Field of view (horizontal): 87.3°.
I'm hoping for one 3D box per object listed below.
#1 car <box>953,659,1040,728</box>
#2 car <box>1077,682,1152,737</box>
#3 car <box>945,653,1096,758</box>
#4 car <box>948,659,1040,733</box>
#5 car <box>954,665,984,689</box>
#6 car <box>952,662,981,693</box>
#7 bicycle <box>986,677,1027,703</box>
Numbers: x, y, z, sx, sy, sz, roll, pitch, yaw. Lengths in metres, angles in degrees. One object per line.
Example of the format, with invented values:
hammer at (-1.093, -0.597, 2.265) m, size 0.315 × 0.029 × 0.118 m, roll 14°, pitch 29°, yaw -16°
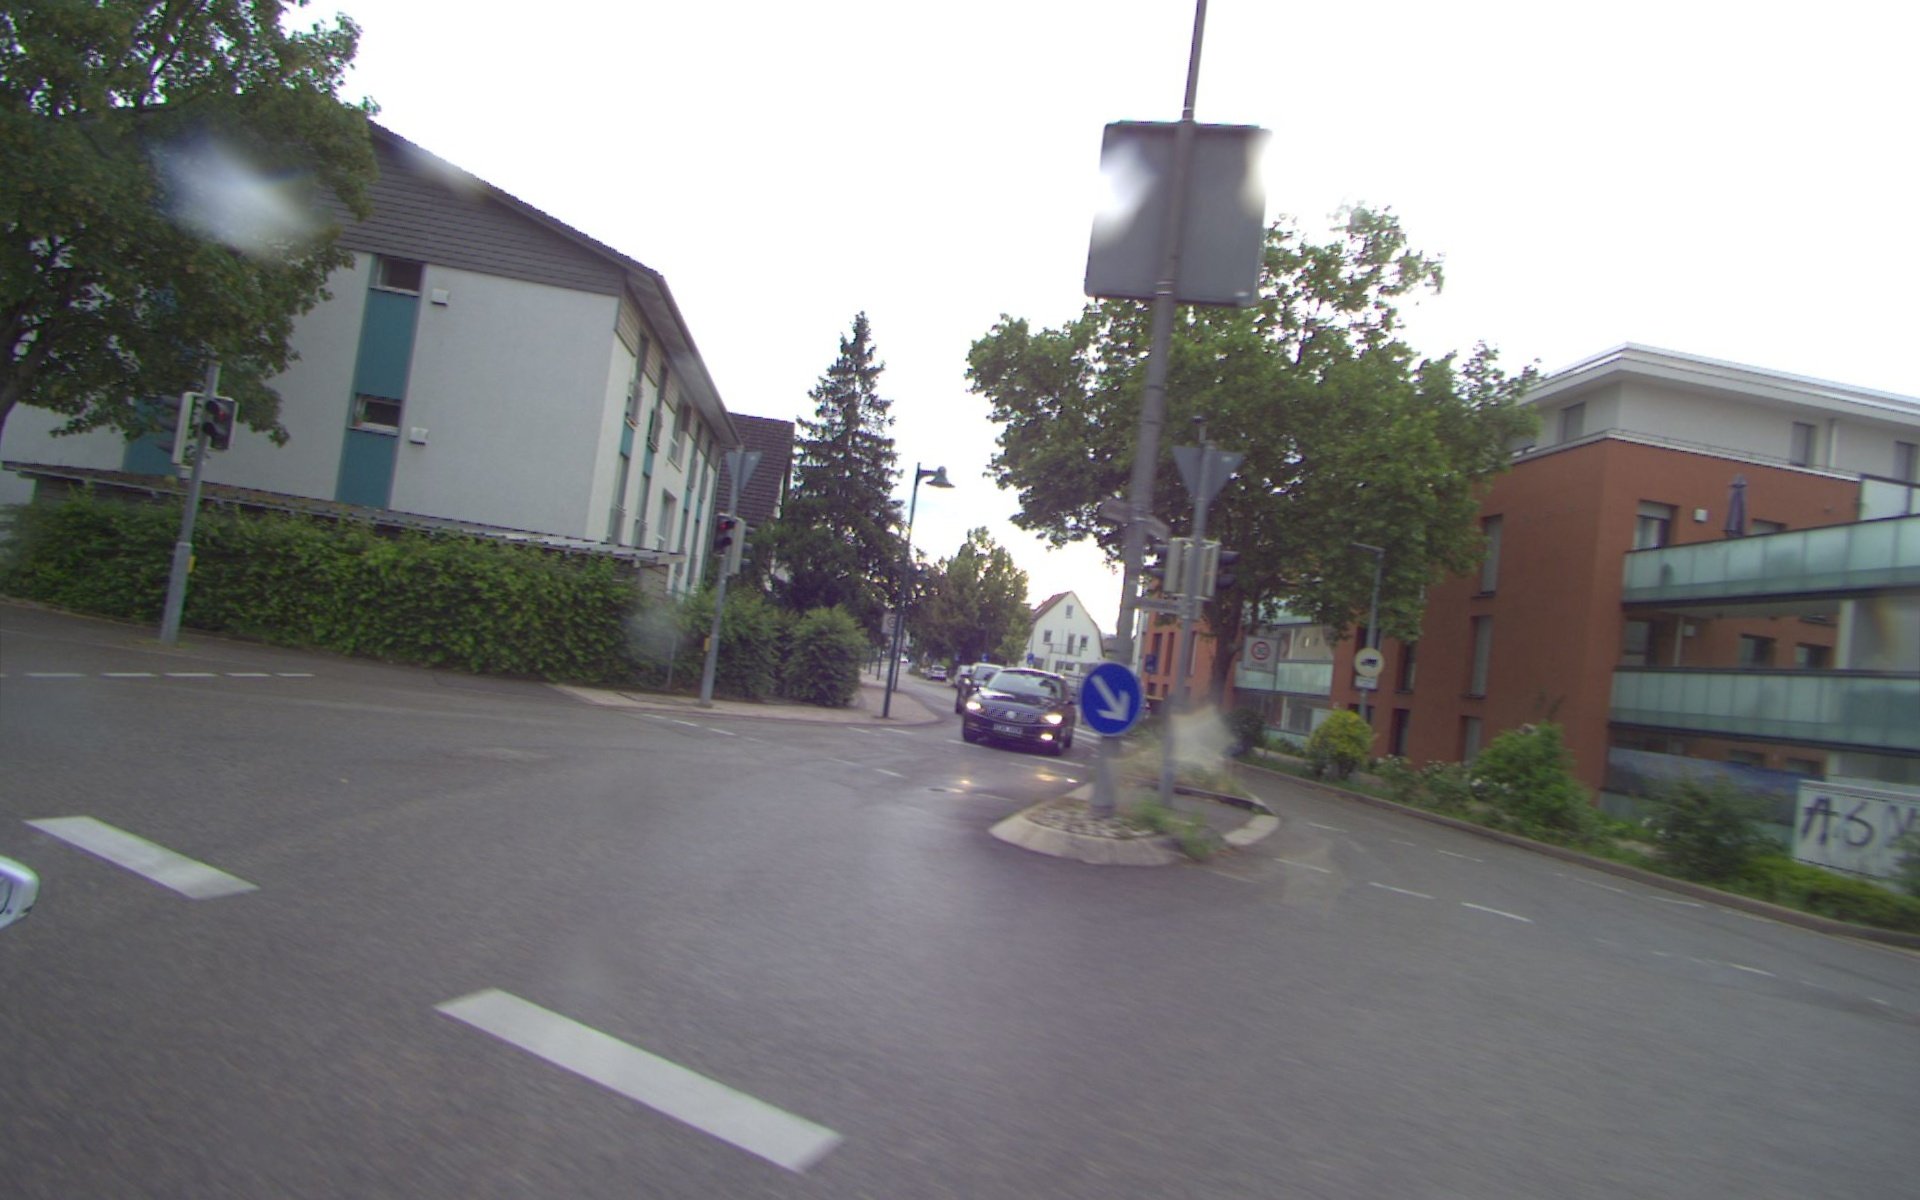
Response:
car at (0.997, 2.699, 29.915) m, size 1.965 × 1.587 × 4.299 m, roll 10°, pitch -4°, yaw -3°
car at (5.839, 4.149, 38.523) m, size 1.621 × 1.529 × 4.145 m, roll 9°, pitch -2°, yaw -6°
car at (1.291, 2.022, 19.233) m, size 1.911 × 1.466 × 4.310 m, roll 9°, pitch -4°, yaw 15°
car at (0.930, 2.775, 29.677) m, size 1.852 × 1.687 × 3.711 m, roll 9°, pitch -3°, yaw -9°
car at (0.659, 5.769, 75.464) m, size 1.621 × 1.390 × 3.713 m, roll 9°, pitch -2°, yaw -6°
car at (0.482, 6.182, 80.593) m, size 1.621 × 2.040 × 3.713 m, roll 9°, pitch -2°, yaw -6°
bicycle at (2.852, 5.511, 61.917) m, size 2.302 × 1.236 × 0.737 m, roll 9°, pitch -1°, yaw 1°
